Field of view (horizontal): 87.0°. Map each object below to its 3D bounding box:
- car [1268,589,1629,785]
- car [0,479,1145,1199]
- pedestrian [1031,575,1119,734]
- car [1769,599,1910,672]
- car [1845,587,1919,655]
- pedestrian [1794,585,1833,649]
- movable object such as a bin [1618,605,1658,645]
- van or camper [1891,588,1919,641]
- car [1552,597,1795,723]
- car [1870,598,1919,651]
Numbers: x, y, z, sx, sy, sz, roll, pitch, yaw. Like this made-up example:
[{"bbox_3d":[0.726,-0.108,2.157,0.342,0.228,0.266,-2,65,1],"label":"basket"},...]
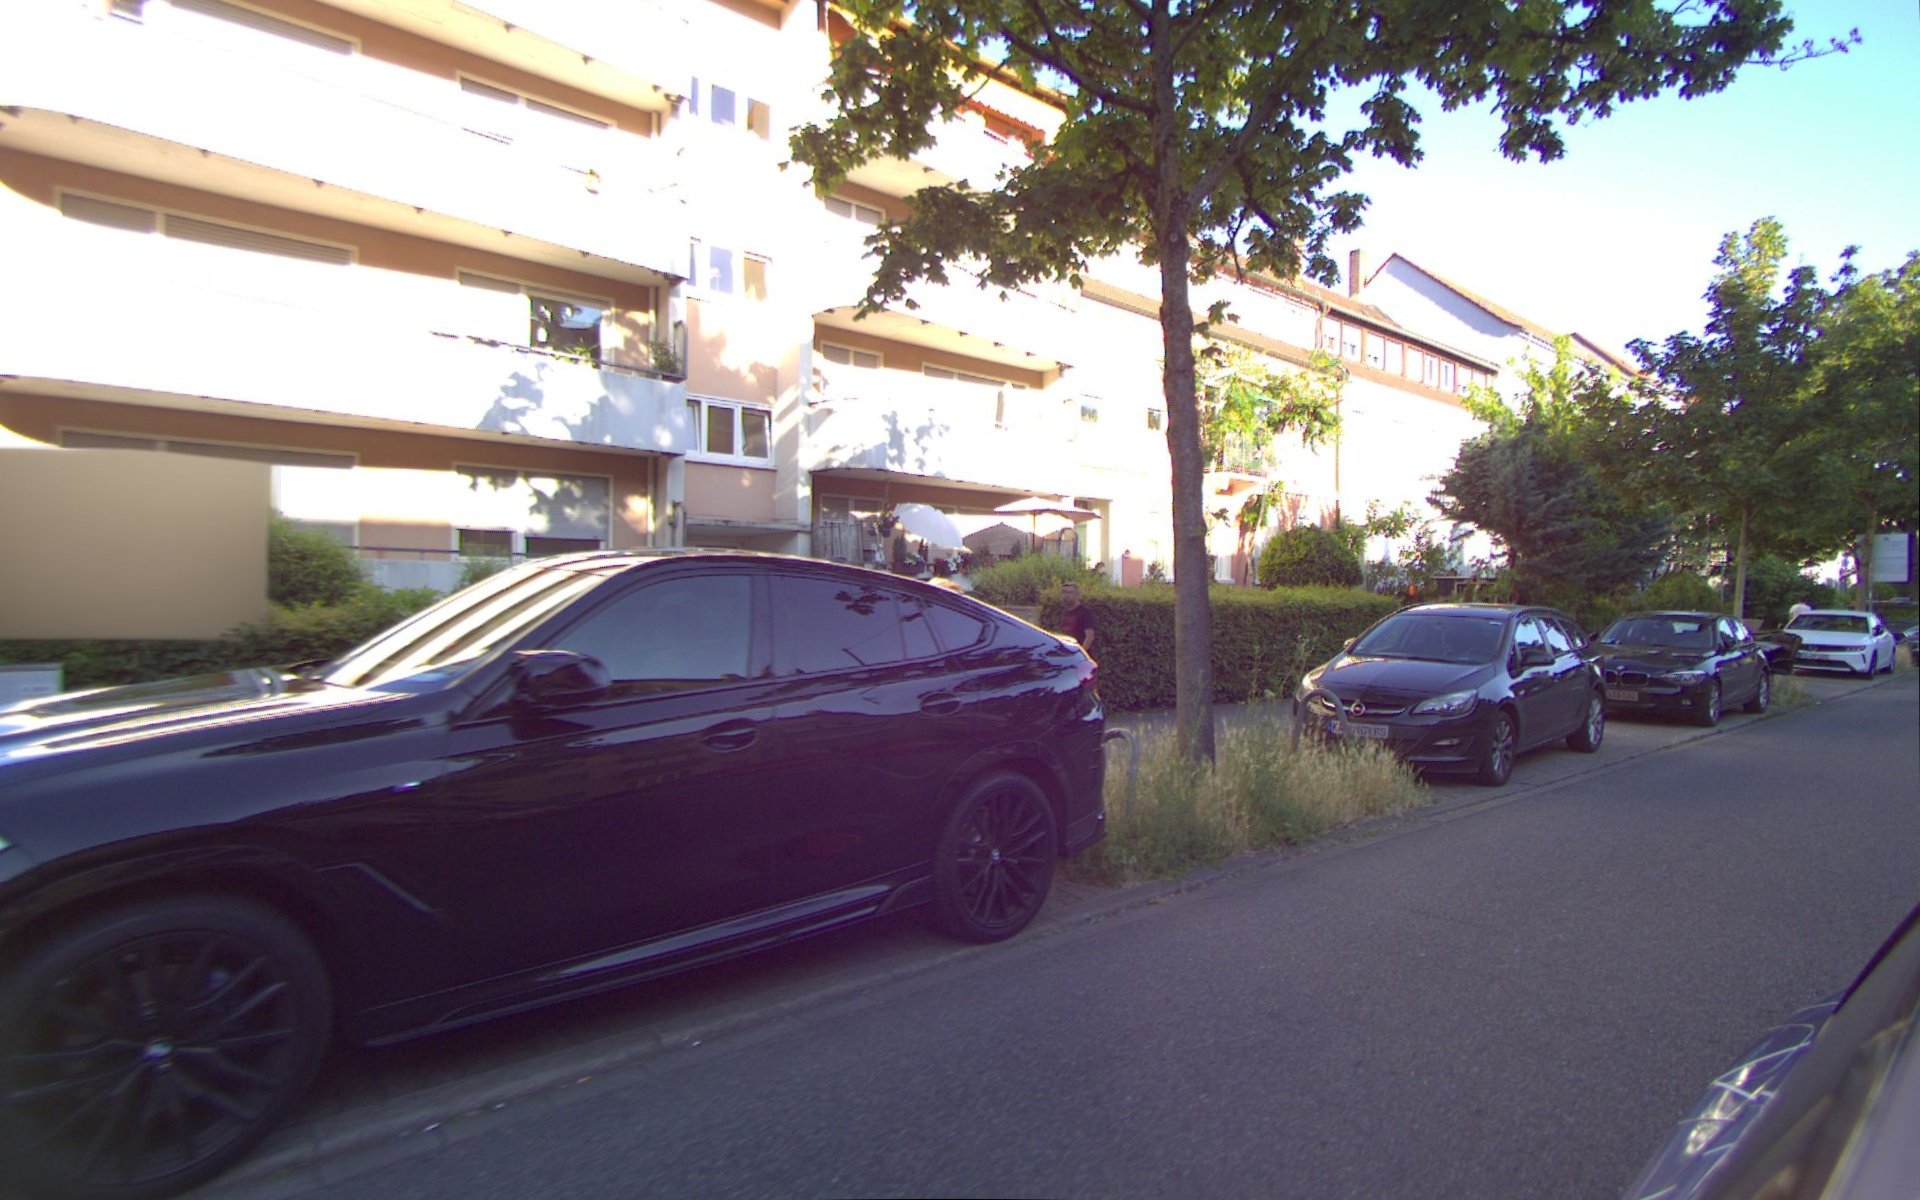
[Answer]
[{"bbox_3d":[4.961,0.671,9.970,4.356,1.490,1.719,0,1,-43],"label":"car"},{"bbox_3d":[-1.488,0.552,4.174,4.713,1.676,1.951,0,1,-42],"label":"car"},{"bbox_3d":[1.232,0.552,10.865,0.570,1.636,0.747,1,0,-42],"label":"pedestrian"},{"bbox_3d":[19.738,0.724,22.660,4.257,1.419,1.765,0,1,-41],"label":"car"},{"bbox_3d":[25.922,0.540,27.753,4.627,1.702,1.919,0,2,-42],"label":"car"},{"bbox_3d":[24.887,0.500,29.497,0.751,1.806,0.669,-2,-1,-41],"label":"pedestrian"},{"bbox_3d":[19.049,0.691,28.446,0.672,1.071,0.727,0,3,-41],"label":"movable object such as a bin"},{"bbox_3d":[36.054,0.568,37.267,5.165,1.866,1.997,2,-1,-40],"label":"van or camper"},{"bbox_3d":[10.118,0.714,14.223,4.406,1.467,1.773,0,1,-41],"label":"car"},{"bbox_3d":[29.546,0.704,30.984,4.743,1.523,1.788,0,0,-39],"label":"car"}]
